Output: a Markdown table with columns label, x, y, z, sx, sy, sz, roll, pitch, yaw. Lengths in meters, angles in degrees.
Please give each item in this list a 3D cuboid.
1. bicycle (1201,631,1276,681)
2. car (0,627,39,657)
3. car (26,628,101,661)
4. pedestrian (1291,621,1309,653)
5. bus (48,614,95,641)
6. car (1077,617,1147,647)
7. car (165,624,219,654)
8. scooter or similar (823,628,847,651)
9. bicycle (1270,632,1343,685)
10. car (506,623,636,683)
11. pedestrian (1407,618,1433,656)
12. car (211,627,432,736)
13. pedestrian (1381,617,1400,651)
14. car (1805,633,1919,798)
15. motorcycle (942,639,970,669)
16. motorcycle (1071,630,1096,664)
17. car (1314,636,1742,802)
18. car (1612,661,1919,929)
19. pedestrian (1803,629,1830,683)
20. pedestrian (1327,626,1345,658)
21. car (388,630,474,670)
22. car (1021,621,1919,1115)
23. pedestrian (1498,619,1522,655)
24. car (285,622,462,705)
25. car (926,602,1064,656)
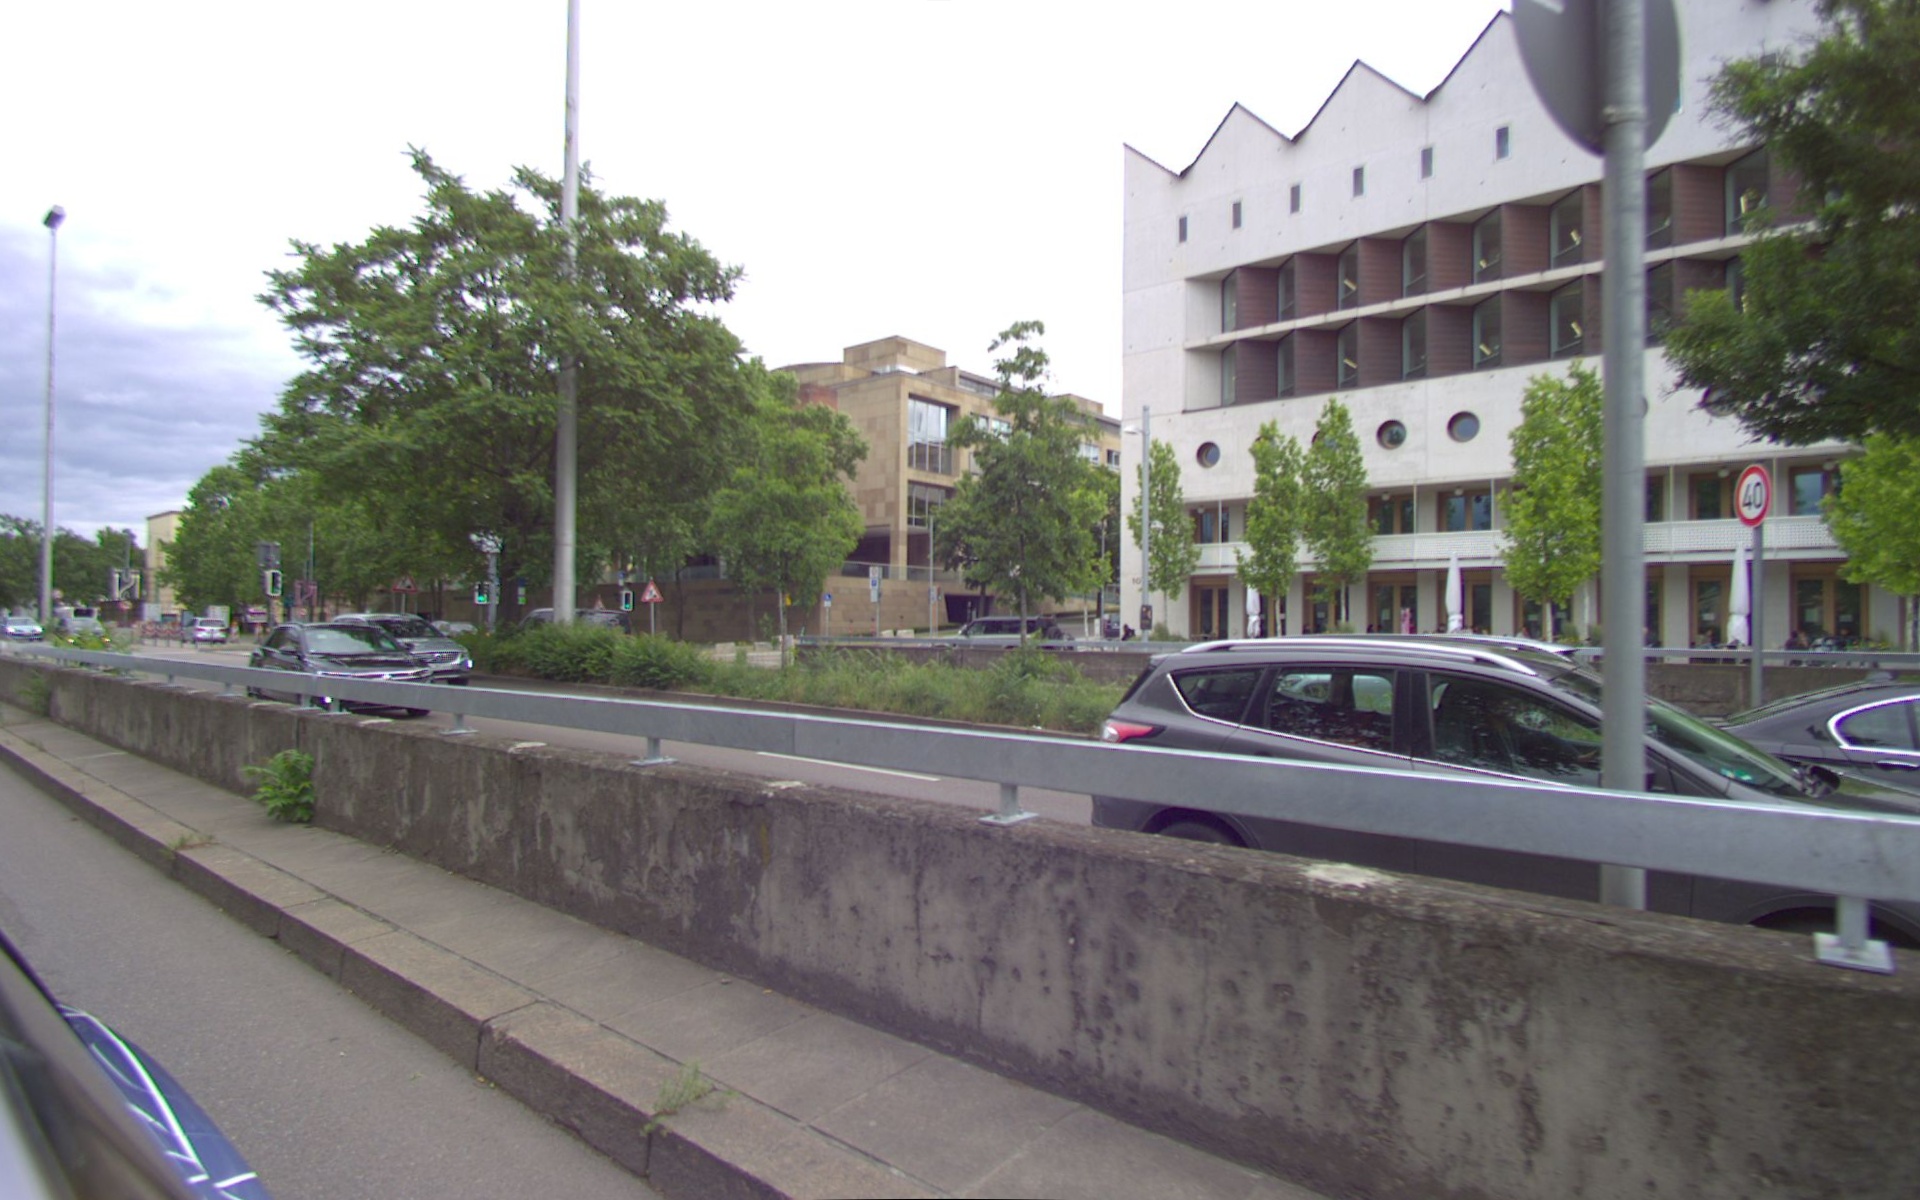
| label | x | y | z | sx | sy | sz | roll | pitch | yaw |
| --- | --- | --- | --- | --- | --- | --- | --- | --- | --- |
| bicycle | 9.887 | 1.959 | 35.797 | 1.182 | 1.697 | 3.577 | -2 | -3 | 39 |
| car | -55.358 | 2.417 | 59.023 | 3.997 | 1.658 | 1.973 | -2 | -1 | 40 |
| car | -43.011 | 2.094 | 48.497 | 4.805 | 1.494 | 1.973 | -2 | -2 | 40 |
| pedestrian | 14.600 | 1.599 | 43.411 | 0.565 | 1.337 | 0.513 | 0 | -2 | 41 |
| bus | -114.475 | 3.570 | 130.310 | 10.440 | 3.330 | 2.883 | -1 | -2 | 40 |
| car | 7.928 | 1.632 | 52.578 | 1.750 | 1.285 | 3.947 | -2 | 1 | 40 |
| car | -47.573 | 2.394 | 62.691 | 3.996 | 1.669 | 1.738 | -1 | 1 | 39 |
| scooter or similar | -7.537 | 2.390 | 61.082 | 0.537 | 1.351 | 1.400 | -2 | -2 | 41 |
| bicycle | 11.846 | 1.963 | 34.514 | 1.182 | 1.697 | 3.577 | -2 | -3 | 39 |
| car | -12.028 | 1.596 | 31.157 | 4.443 | 1.730 | 1.838 | -2 | -3 | 41 |
| pedestrian | 17.377 | 1.398 | 38.212 | 0.639 | 1.337 | 0.636 | 5 | -7 | -22 |
| car | -10.627 | 1.242 | 16.747 | 4.145 | 1.527 | 1.746 | -1 | 0 | 37 |
| pedestrian | 17.370 | 1.362 | 40.812 | 0.565 | 1.337 | 0.513 | 0 | -2 | 41 |
| car | 13.644 | 1.512 | 13.197 | 3.997 | 2.029 | 1.973 | -1 | 1 | 40 |
| motorcycle | -0.161 | 2.287 | 43.082 | 0.653 | 1.243 | 1.880 | 2 | -1 | 16 |
| motorcycle | 4.801 | 1.815 | 39.177 | 0.653 | 1.243 | 1.880 | 2 | -1 | 16 |
| car | 7.029 | 1.333 | 12.821 | 4.443 | 1.730 | 1.837 | -2 | -3 | 41 |
| car | 6.950 | 1.184 | 6.105 | 4.808 | 1.494 | 1.972 | -2 | -2 | 42 |
| pedestrian | 26.795 | 1.751 | 31.653 | 0.630 | 1.646 | 0.626 | -1 | -2 | 41 |
| pedestrian | 15.730 | 1.758 | 42.314 | 0.565 | 1.337 | 0.513 | 0 | -2 | 41 |
| car | -22.444 | 2.081 | 42.902 | 3.994 | 1.472 | 1.739 | -1 | 1 | 38 |
| car | 2.761 | 1.012 | 5.355 | 4.653 | 1.728 | 1.875 | -2 | -1 | 39 |
| pedestrian | 20.569 | 1.370 | 37.835 | 0.651 | 1.337 | 0.625 | -2 | -2 | 43 |
| car | -13.195 | 1.334 | 22.656 | 4.735 | 1.629 | 1.973 | -1 | -1 | 41 |
| car | 1.153 | 0.994 | 34.126 | 4.381 | 1.730 | 1.841 | -1 | -3 | 35 |
